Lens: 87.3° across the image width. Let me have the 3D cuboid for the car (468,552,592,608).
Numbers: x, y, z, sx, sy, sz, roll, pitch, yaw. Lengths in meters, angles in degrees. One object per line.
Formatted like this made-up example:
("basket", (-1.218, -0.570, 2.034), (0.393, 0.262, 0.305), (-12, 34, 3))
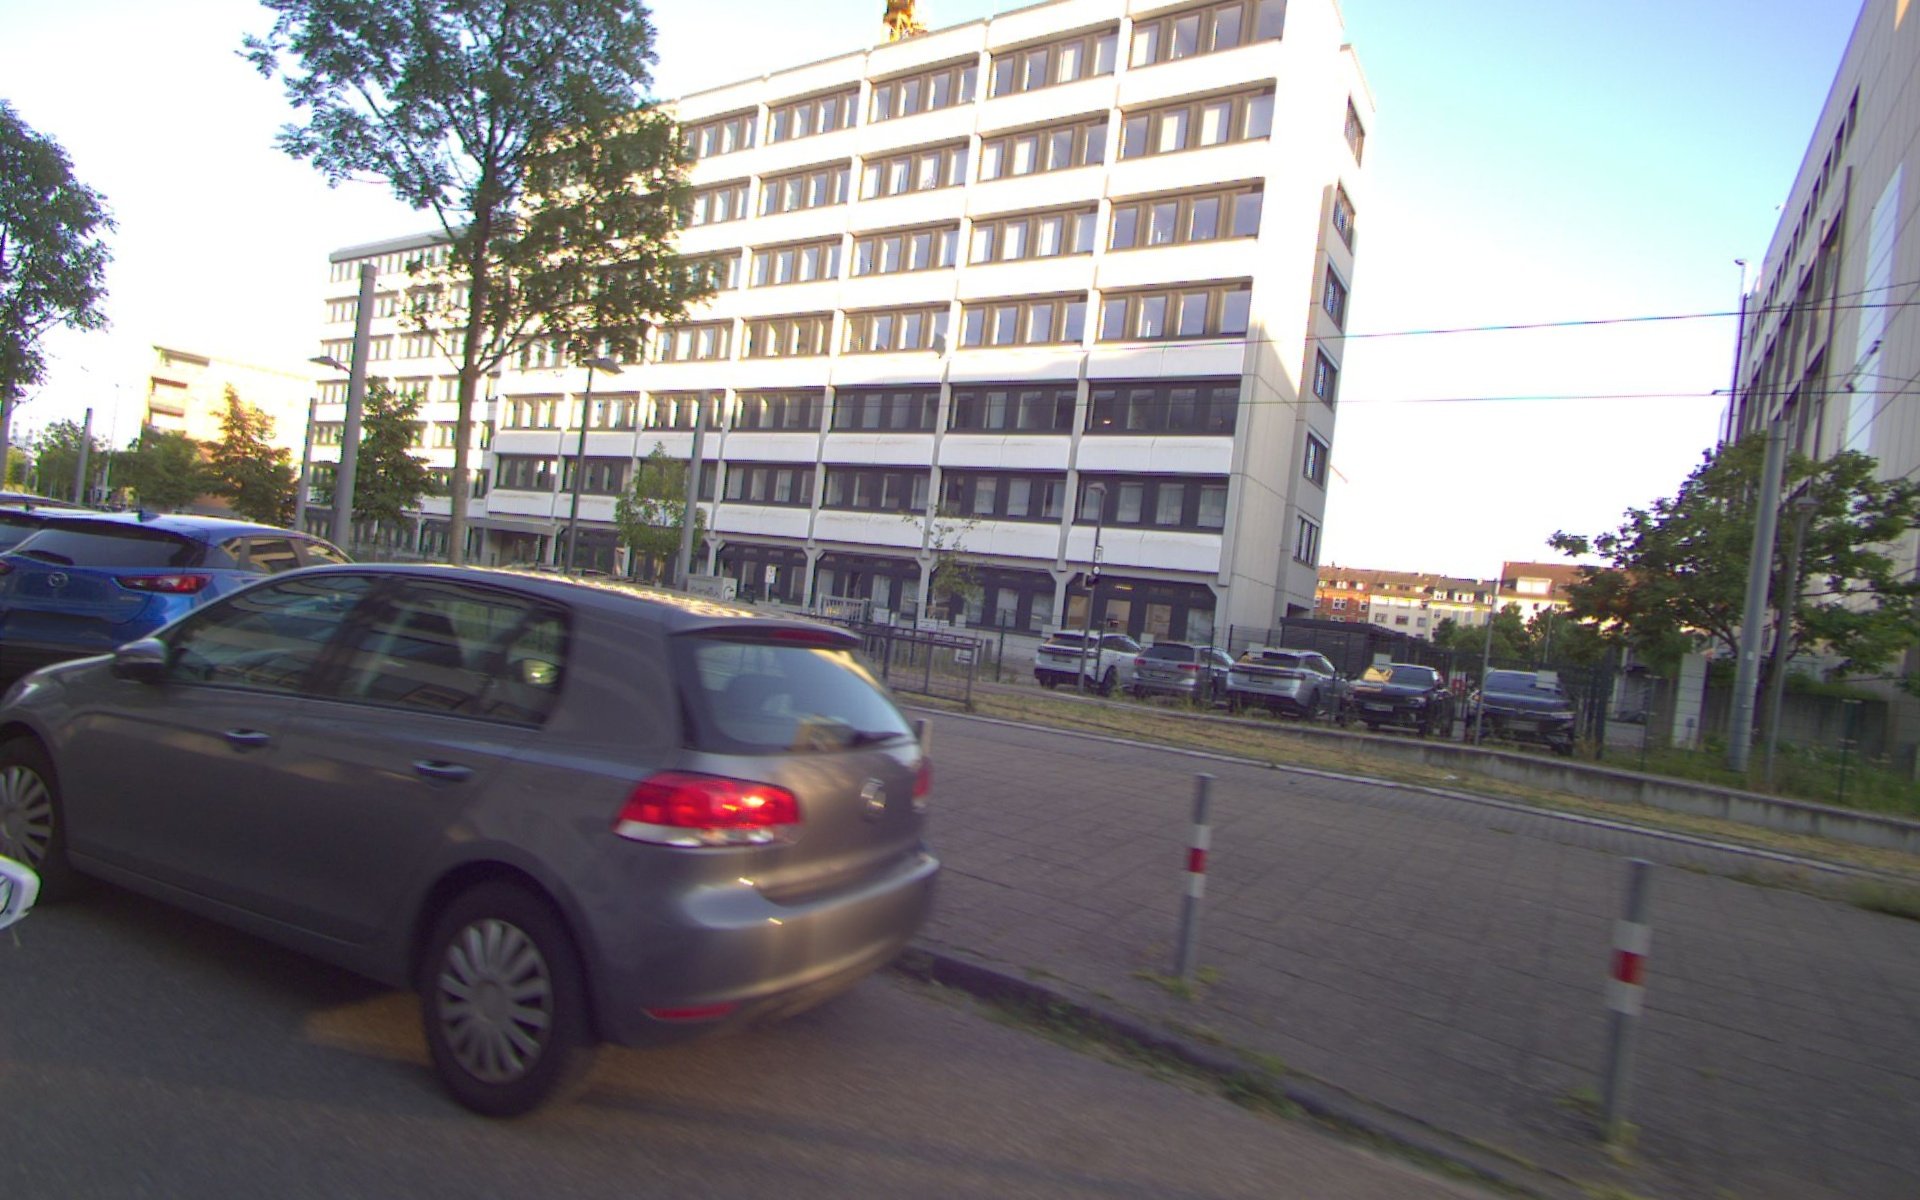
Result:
("car", (-16.142, -0.713, 37.934), (1.565, 1.413, 3.997), (7, -3, 31))

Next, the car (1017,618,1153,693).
("car", (3.226, 1.374, 25.370), (1.794, 1.533, 3.990), (7, 1, 31))

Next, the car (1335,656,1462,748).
("car", (9.234, 2.035, 20.998), (1.648, 1.506, 3.987), (7, 2, 33))

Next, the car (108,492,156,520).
("car", (-100.396, -11.377, 122.020), (4.130, 2.615, 1.687), (8, 0, -36))

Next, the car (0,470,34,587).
("car", (-18.071, -1.478, 16.198), (1.837, 2.058, 4.605), (8, -2, -1))

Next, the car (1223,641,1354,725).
("car", (7.381, 1.775, 22.396), (1.648, 1.506, 3.987), (7, 2, 33))

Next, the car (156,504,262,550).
("car", (-43.928, -4.236, 58.956), (1.900, 1.960, 4.499), (7, -1, 34))

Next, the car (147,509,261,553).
("car", (-40.387, -3.650, 53.868), (1.666, 1.621, 4.501), (7, -1, 32))

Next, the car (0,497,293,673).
("car", (-9.115, -0.212, 10.539), (1.706, 1.482, 3.997), (7, -1, -5))

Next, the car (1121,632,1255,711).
("car", (5.422, 1.625, 23.586), (1.648, 1.506, 3.987), (7, 2, 33))

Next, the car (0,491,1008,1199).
("car", (-2.022, 0.569, 3.993), (3.928, 1.482, 1.738), (7, -3, 24))

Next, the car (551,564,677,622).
("car", (-12.090, -0.213, 35.379), (1.565, 1.413, 3.997), (7, -3, 31))

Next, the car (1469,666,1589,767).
("car", (11.265, 2.188, 19.785), (1.648, 1.506, 3.987), (7, 2, 33))

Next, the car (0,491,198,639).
("car", (-11.528, -0.464, 12.045), (1.706, 1.612, 4.002), (8, -3, -3))

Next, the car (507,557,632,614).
("car", (-14.119, -0.501, 36.555), (1.565, 1.413, 3.997), (7, -3, 31))

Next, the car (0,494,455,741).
("car", (-6.322, 0.088, 8.707), (1.892, 1.539, 3.998), (6, 0, -2))

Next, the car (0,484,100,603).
("car", (-15.581, -1.036, 14.726), (1.837, 1.769, 4.605), (8, -2, -1))

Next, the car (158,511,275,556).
("car", (-38.544, -3.440, 52.294), (1.666, 1.621, 4.501), (7, -1, 32))
